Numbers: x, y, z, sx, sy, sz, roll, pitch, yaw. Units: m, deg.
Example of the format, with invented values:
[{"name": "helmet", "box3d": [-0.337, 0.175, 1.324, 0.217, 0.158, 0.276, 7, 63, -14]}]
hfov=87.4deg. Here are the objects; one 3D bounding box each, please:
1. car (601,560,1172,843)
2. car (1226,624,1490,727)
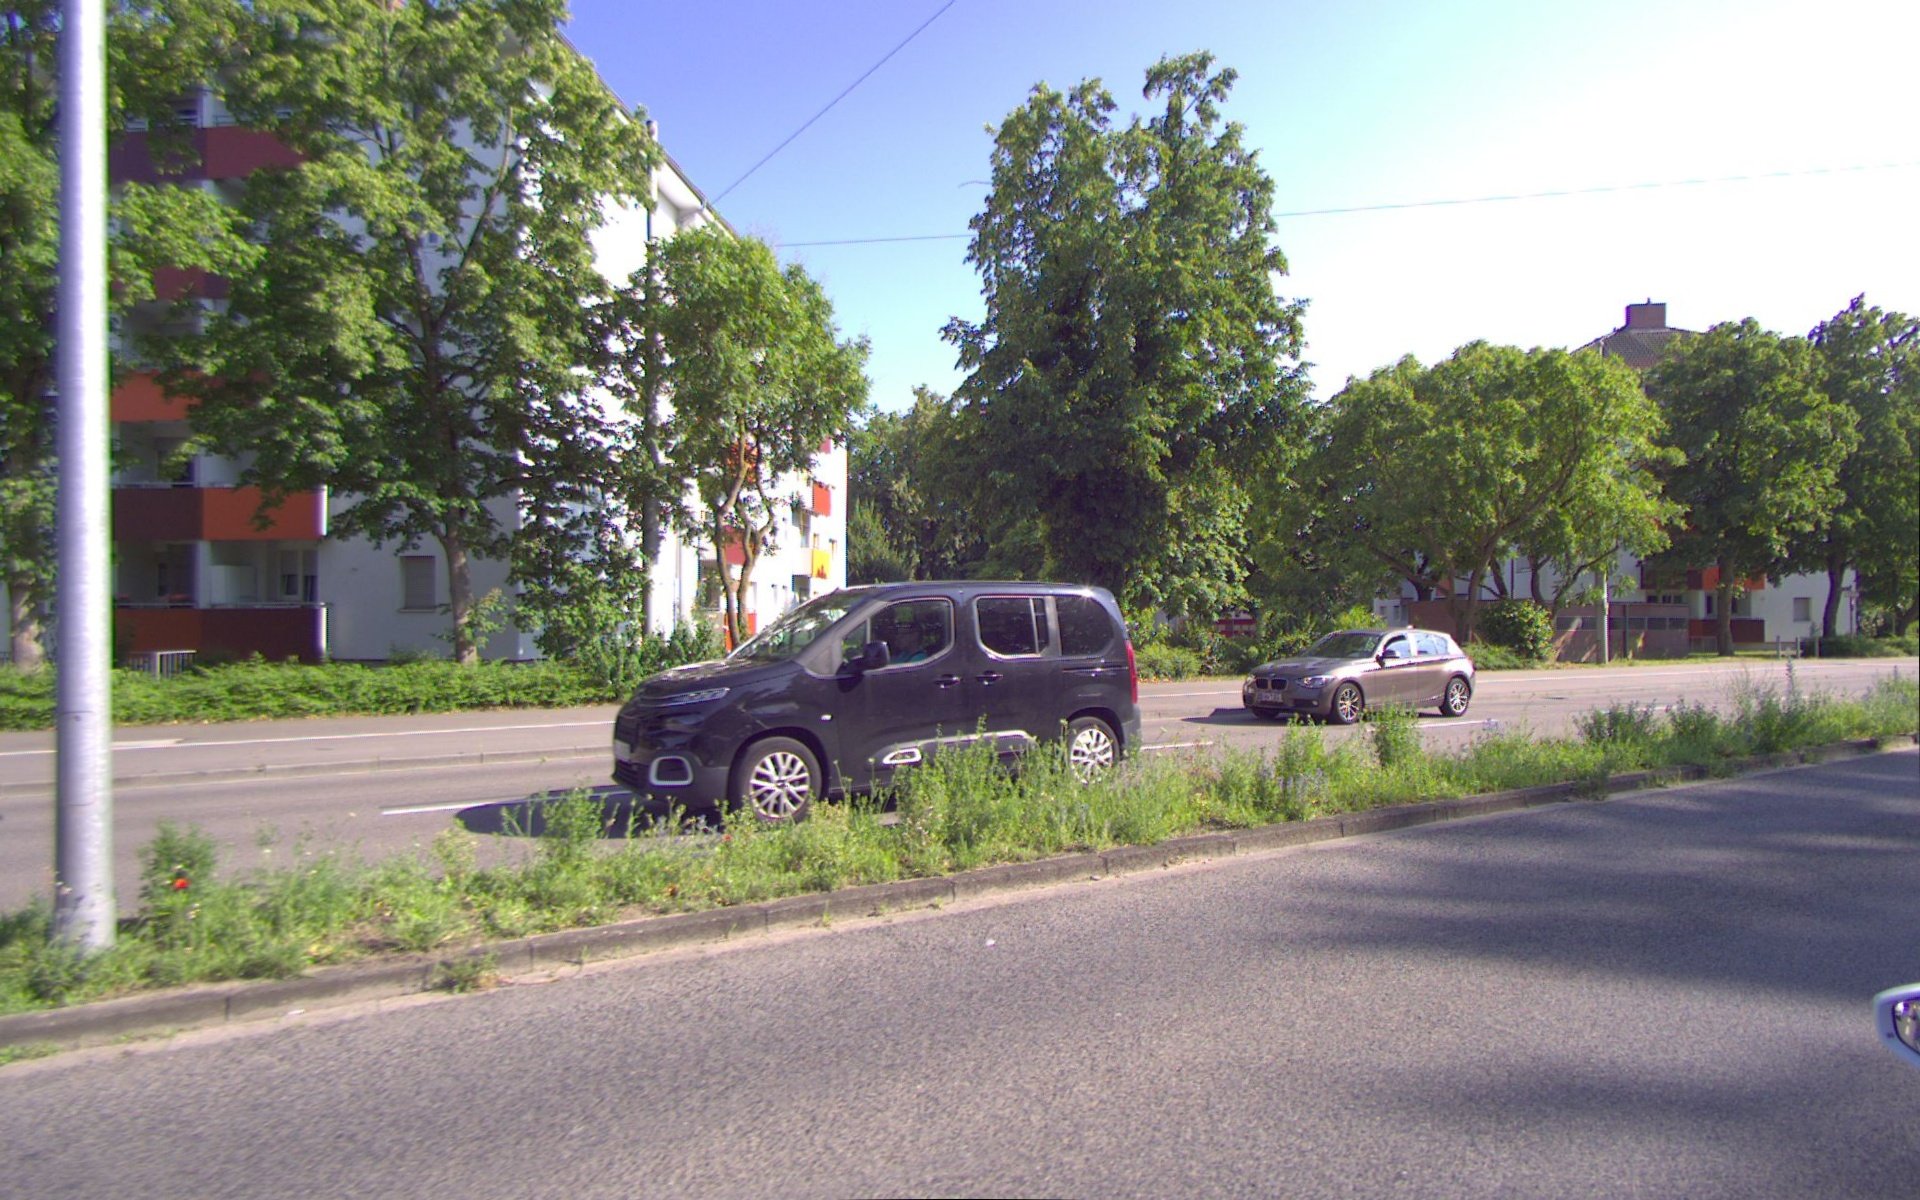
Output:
[{"name": "car", "box3d": [-0.509, 0.703, 8.345, 4.429, 1.807, 1.781, 1, -2, -31]}, {"name": "car", "box3d": [6.470, 1.138, 16.214, 4.275, 1.438, 1.716, 0, -2, -31]}]
